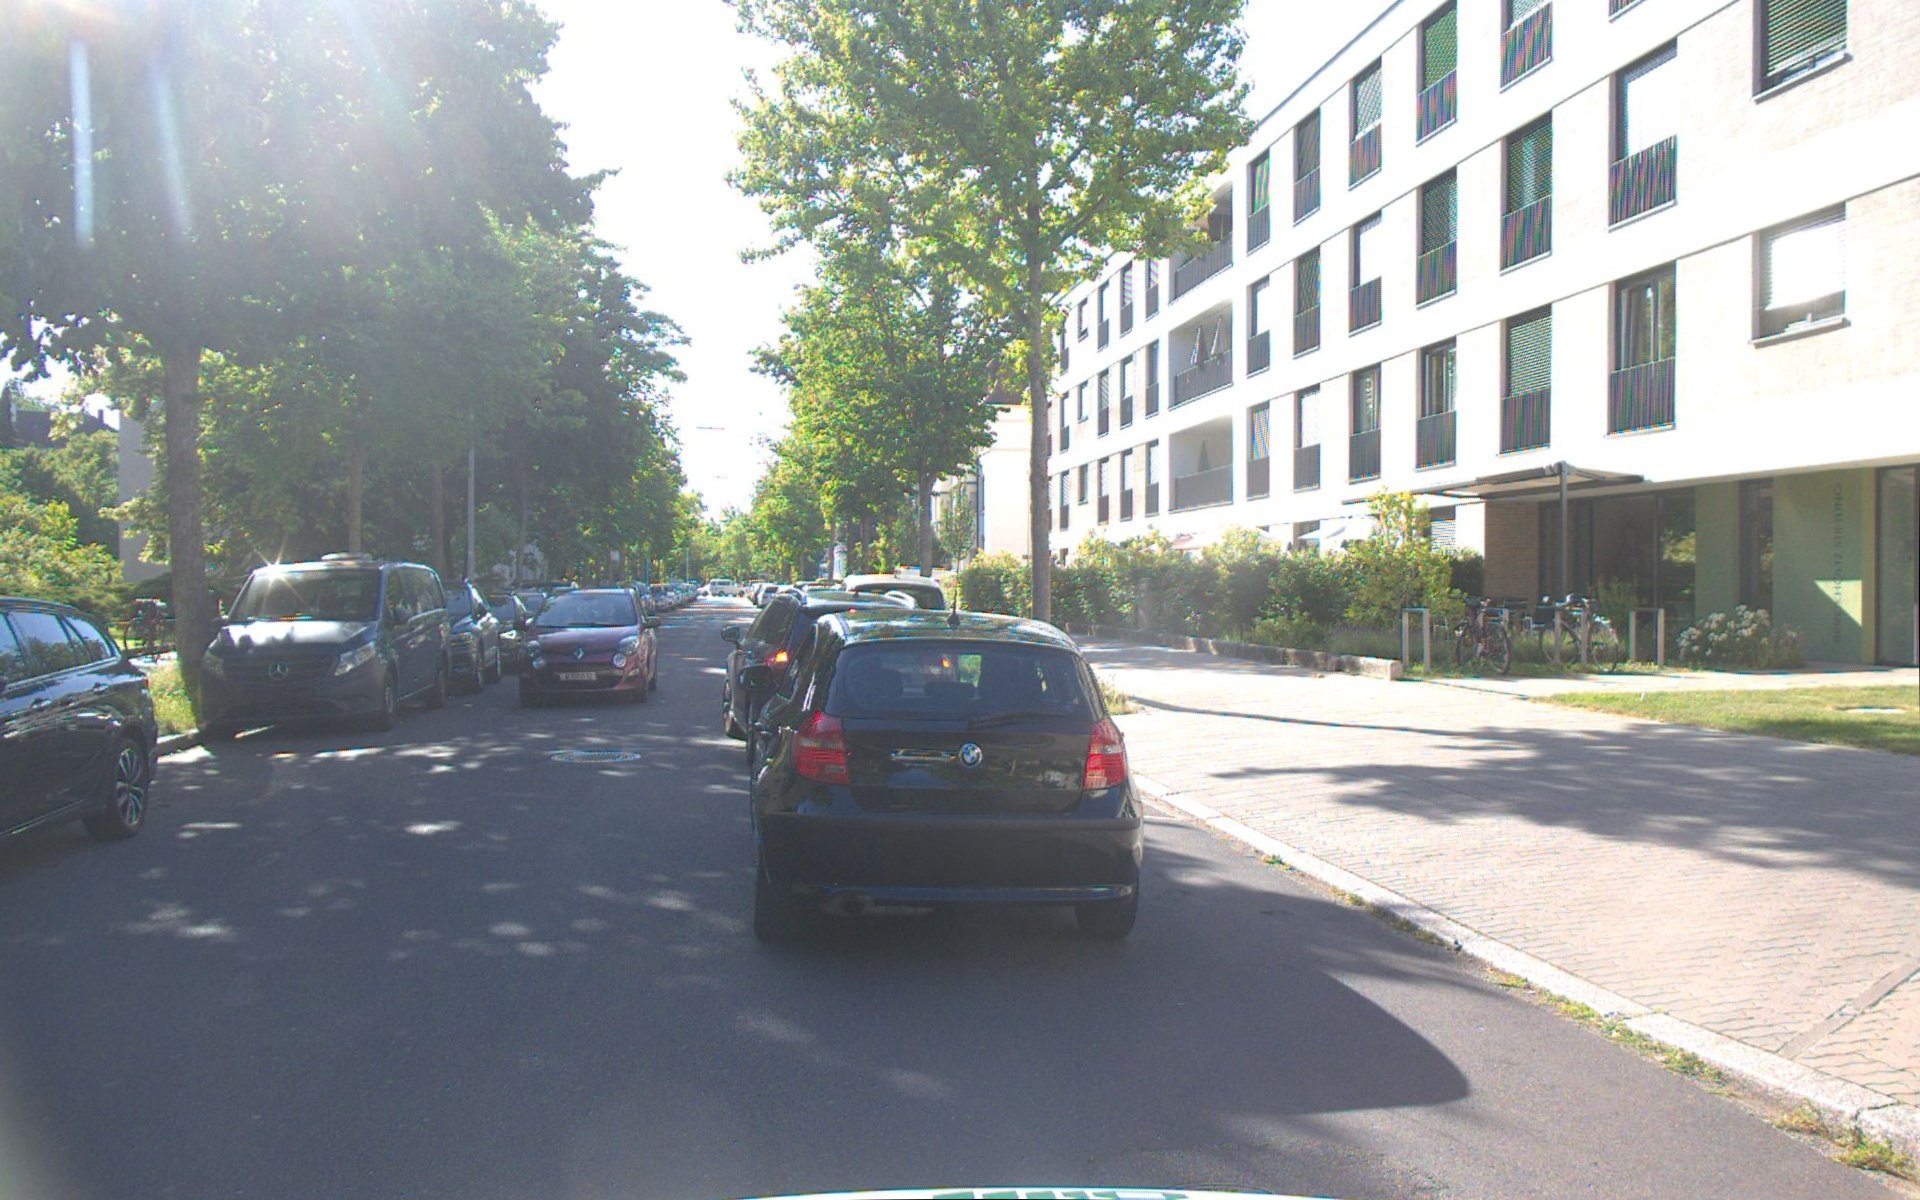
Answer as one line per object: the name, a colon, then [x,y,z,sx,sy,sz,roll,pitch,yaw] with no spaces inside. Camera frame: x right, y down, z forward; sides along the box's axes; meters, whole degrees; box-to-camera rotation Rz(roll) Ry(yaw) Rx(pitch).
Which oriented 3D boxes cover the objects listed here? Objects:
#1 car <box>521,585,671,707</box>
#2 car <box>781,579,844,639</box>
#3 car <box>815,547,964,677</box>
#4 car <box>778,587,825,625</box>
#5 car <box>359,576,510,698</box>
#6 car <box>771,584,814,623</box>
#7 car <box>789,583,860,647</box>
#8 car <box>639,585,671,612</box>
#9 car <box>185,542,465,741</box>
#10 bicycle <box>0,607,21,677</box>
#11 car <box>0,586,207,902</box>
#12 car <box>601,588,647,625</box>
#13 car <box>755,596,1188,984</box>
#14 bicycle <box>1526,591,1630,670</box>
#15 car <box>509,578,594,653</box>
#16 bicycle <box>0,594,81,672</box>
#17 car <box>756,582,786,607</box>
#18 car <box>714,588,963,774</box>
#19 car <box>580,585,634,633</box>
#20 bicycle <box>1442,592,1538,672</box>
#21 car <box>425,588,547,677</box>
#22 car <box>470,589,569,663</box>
car: [-4.736,0.552,21.868,1.476,1.451,3.175,-1,1,-5]
car: [-4.433,0.254,49.326,1.688,1.669,3.845,2,0,-7]
car: [-1.094,0.161,23.447,1.812,1.659,4.404,0,0,-6]
car: [-6.181,0.216,64.322,1.688,1.403,3.845,2,0,-7]
car: [-7.847,0.487,25.018,1.583,1.639,4.219,-2,1,-10]
car: [-7.001,0.123,69.032,1.688,1.506,3.845,2,0,-7]
car: [-3.594,0.366,43.388,1.688,1.555,3.994,2,0,-7]
car: [-16.755,-0.104,91.040,1.582,1.416,3.858,-2,1,-9]
car: [-7.133,0.390,19.177,1.792,1.937,5.134,-2,1,-7]
bicycle: [-14.433,0.633,24.122,0.583,1.009,1.925,-1,1,-8]
car: [-5.679,0.748,9.055,1.479,1.575,4.769,-3,1,-8]
car: [-13.607,0.250,67.078,1.582,1.416,3.858,-2,1,-9]
car: [-0.146,0.720,8.113,1.619,1.421,3.405,-1,1,-8]
bicycle: [8.756,0.410,23.511,0.536,1.073,1.775,-1,1,-10]
car: [-9.997,0.343,40.686,1.582,1.708,4.226,-1,1,-9]
bicycle: [-15.531,0.531,26.857,2.113,1.230,0.686,-1,1,-19]
car: [-11.851,-0.340,103.928,1.687,1.506,3.847,-1,1,-5]
car: [-1.254,0.631,15.361,1.622,1.450,3.986,-1,1,-14]
car: [-12.288,0.272,57.730,1.582,1.570,3.858,-2,1,-9]
bicycle: [7.438,0.428,23.276,0.536,1.073,1.687,-1,1,-10]
car: [-8.593,0.536,30.264,1.582,1.452,4.050,-2,1,-9]
car: [-9.339,0.509,35.294,1.582,1.452,3.718,-2,1,-9]
